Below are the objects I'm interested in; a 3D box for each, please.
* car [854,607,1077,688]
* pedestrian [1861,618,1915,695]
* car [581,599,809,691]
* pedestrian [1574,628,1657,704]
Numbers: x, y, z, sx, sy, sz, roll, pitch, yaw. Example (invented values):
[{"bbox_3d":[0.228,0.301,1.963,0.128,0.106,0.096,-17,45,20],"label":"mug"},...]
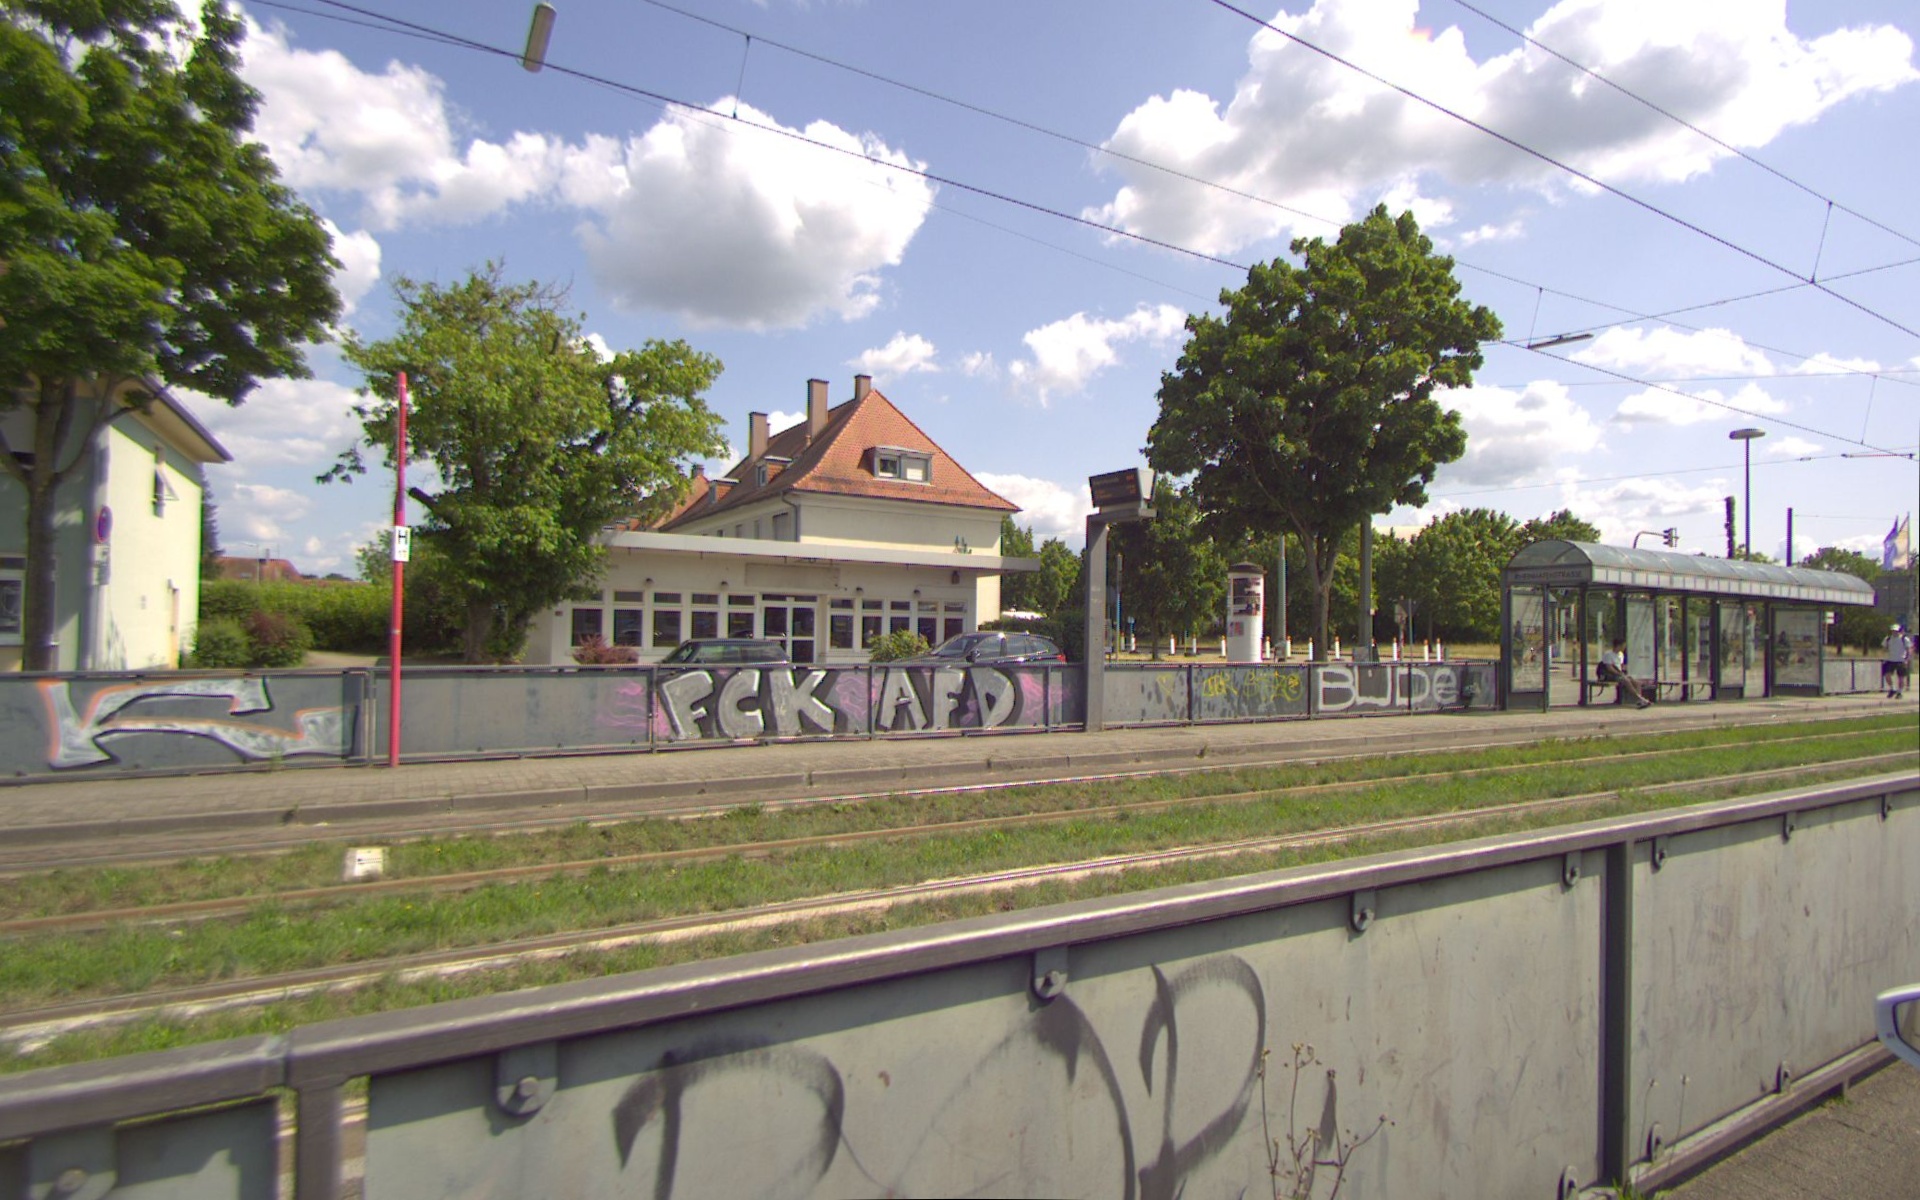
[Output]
[{"bbox_3d":[0.179,1.042,22.474,4.708,1.635,2.046,2,-1,-36],"label":"car"},{"bbox_3d":[22.668,1.370,24.546,0.701,1.819,0.803,2,-1,-33],"label":"pedestrian"},{"bbox_3d":[-5.055,0.851,19.220,3.882,1.605,1.779,2,-1,-29],"label":"car"},{"bbox_3d":[12.838,1.283,19.692,0.850,1.394,1.053,2,0,-30],"label":"pedestrian"}]
